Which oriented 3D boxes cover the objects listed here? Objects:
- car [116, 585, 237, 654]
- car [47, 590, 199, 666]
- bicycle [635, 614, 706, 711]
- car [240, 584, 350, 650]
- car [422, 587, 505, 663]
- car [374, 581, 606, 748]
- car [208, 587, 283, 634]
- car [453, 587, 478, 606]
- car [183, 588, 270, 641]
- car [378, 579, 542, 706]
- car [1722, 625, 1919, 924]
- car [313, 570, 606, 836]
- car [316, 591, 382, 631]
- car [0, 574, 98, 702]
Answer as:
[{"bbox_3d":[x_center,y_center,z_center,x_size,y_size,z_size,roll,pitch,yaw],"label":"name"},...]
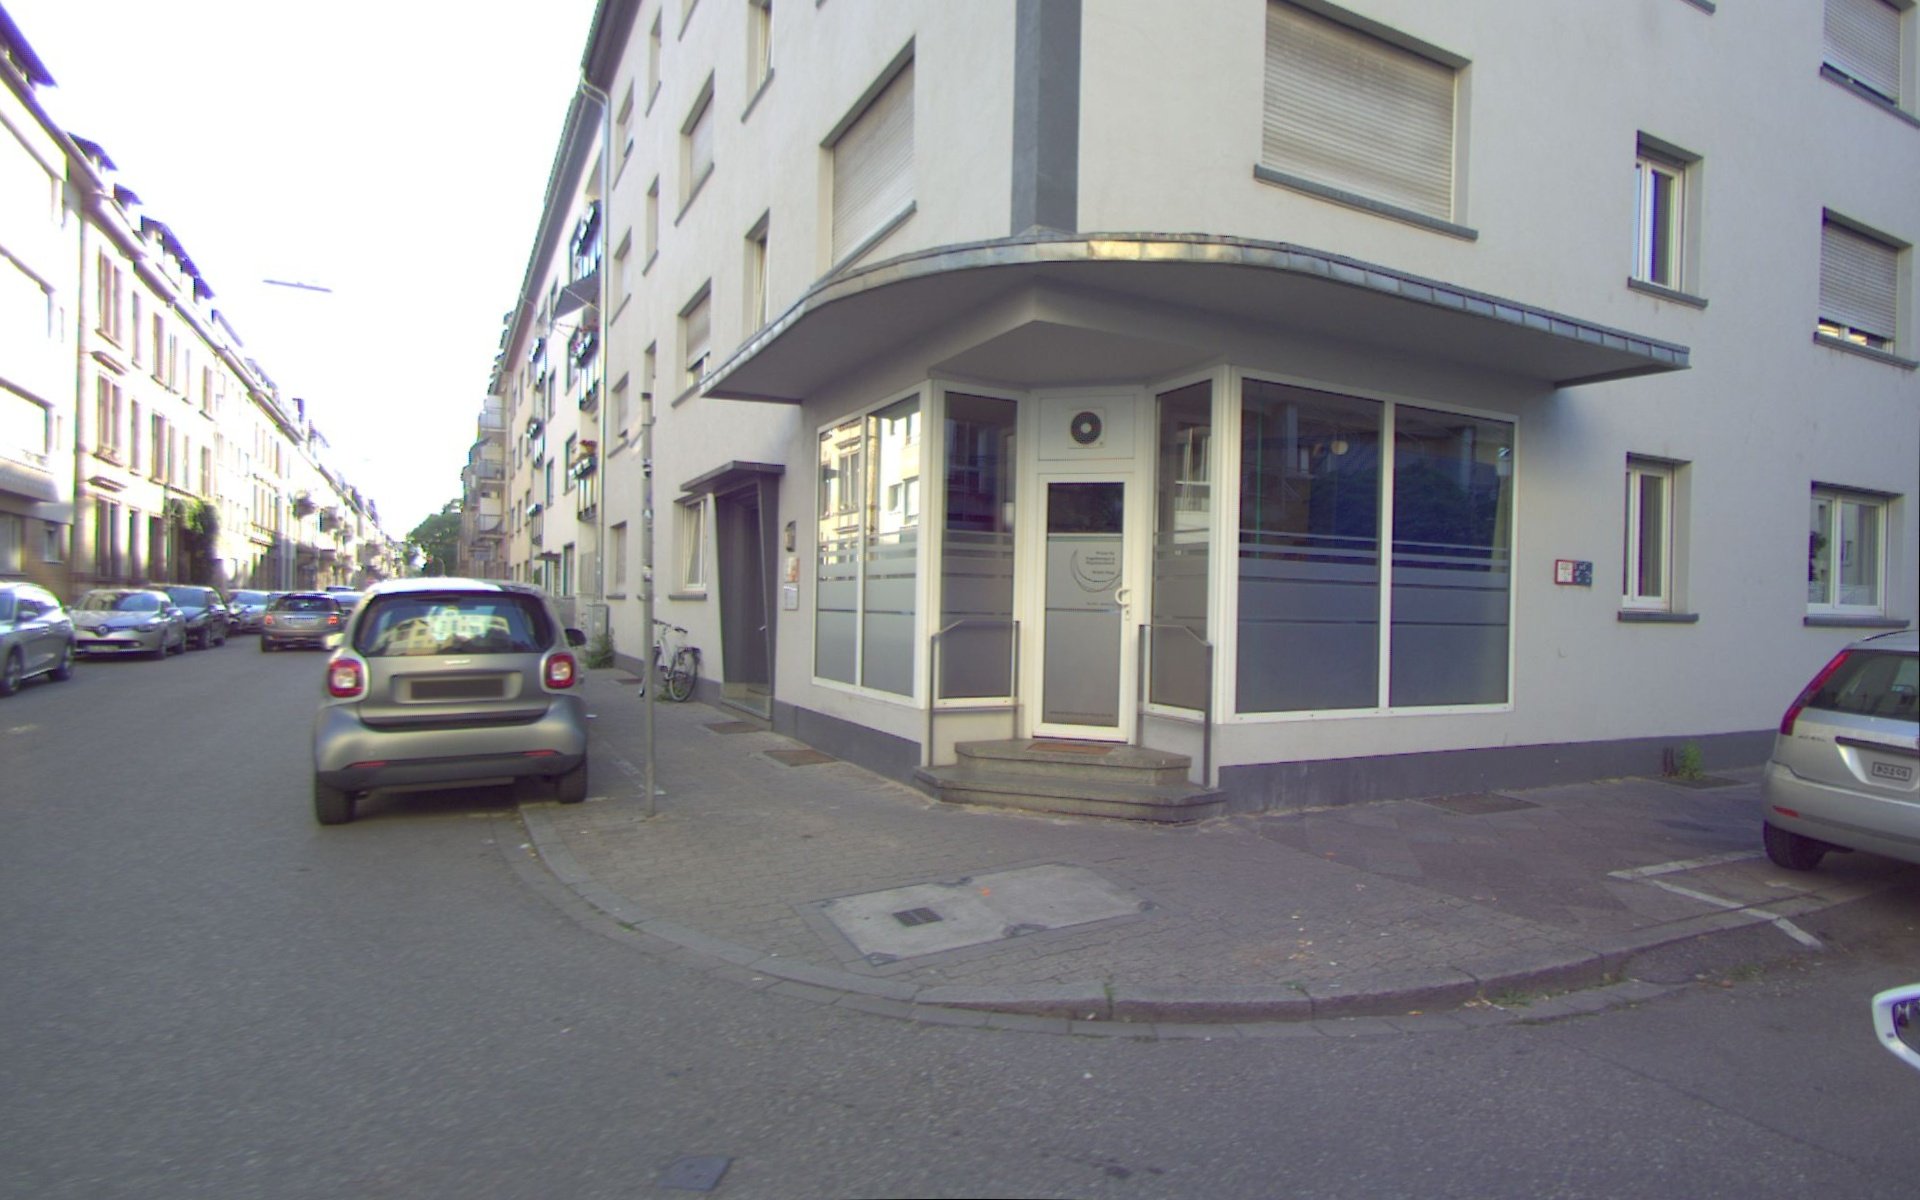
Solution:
[{"bbox_3d":[-19.763,0.440,25.521,1.813,1.581,4.060,1,1,-30],"label":"car"},{"bbox_3d":[-17.559,0.541,21.251,1.813,1.422,3.566,1,0,-30],"label":"car"},{"bbox_3d":[-4.022,0.819,13.878,0.483,1.152,2.042,2,1,-29],"label":"bicycle"},{"bbox_3d":[-16.785,0.395,25.535,1.976,1.506,3.969,1,0,-29],"label":"car"},{"bbox_3d":[-11.907,0.554,24.158,1.637,1.666,3.582,1,0,-26],"label":"car"},{"bbox_3d":[-5.303,0.563,11.287,1.943,1.472,4.233,1,0,-27],"label":"car"},{"bbox_3d":[-26.626,0.360,37.546,1.813,1.581,4.060,1,1,-30],"label":"car"},{"bbox_3d":[-46.905,-0.326,95.393,1.973,1.646,4.556,1,0,-25],"label":"car"},{"bbox_3d":[-24.011,0.435,33.016,1.813,1.581,4.060,1,1,-30],"label":"car"},{"bbox_3d":[-7.767,0.549,15.559,1.975,1.675,4.062,1,0,-28],"label":"car"},{"bbox_3d":[6.301,0.927,5.893,3.512,1.449,1.625,2,0,-29],"label":"car"},{"bbox_3d":[-3.719,0.610,7.592,1.627,1.586,2.745,1,0,-26],"label":"car"},{"bbox_3d":[-25.157,0.420,41.494,1.975,1.506,4.629,1,0,-28],"label":"car"},{"bbox_3d":[-13.877,0.436,14.018,1.985,1.581,4.061,1,0,-29],"label":"car"}]
